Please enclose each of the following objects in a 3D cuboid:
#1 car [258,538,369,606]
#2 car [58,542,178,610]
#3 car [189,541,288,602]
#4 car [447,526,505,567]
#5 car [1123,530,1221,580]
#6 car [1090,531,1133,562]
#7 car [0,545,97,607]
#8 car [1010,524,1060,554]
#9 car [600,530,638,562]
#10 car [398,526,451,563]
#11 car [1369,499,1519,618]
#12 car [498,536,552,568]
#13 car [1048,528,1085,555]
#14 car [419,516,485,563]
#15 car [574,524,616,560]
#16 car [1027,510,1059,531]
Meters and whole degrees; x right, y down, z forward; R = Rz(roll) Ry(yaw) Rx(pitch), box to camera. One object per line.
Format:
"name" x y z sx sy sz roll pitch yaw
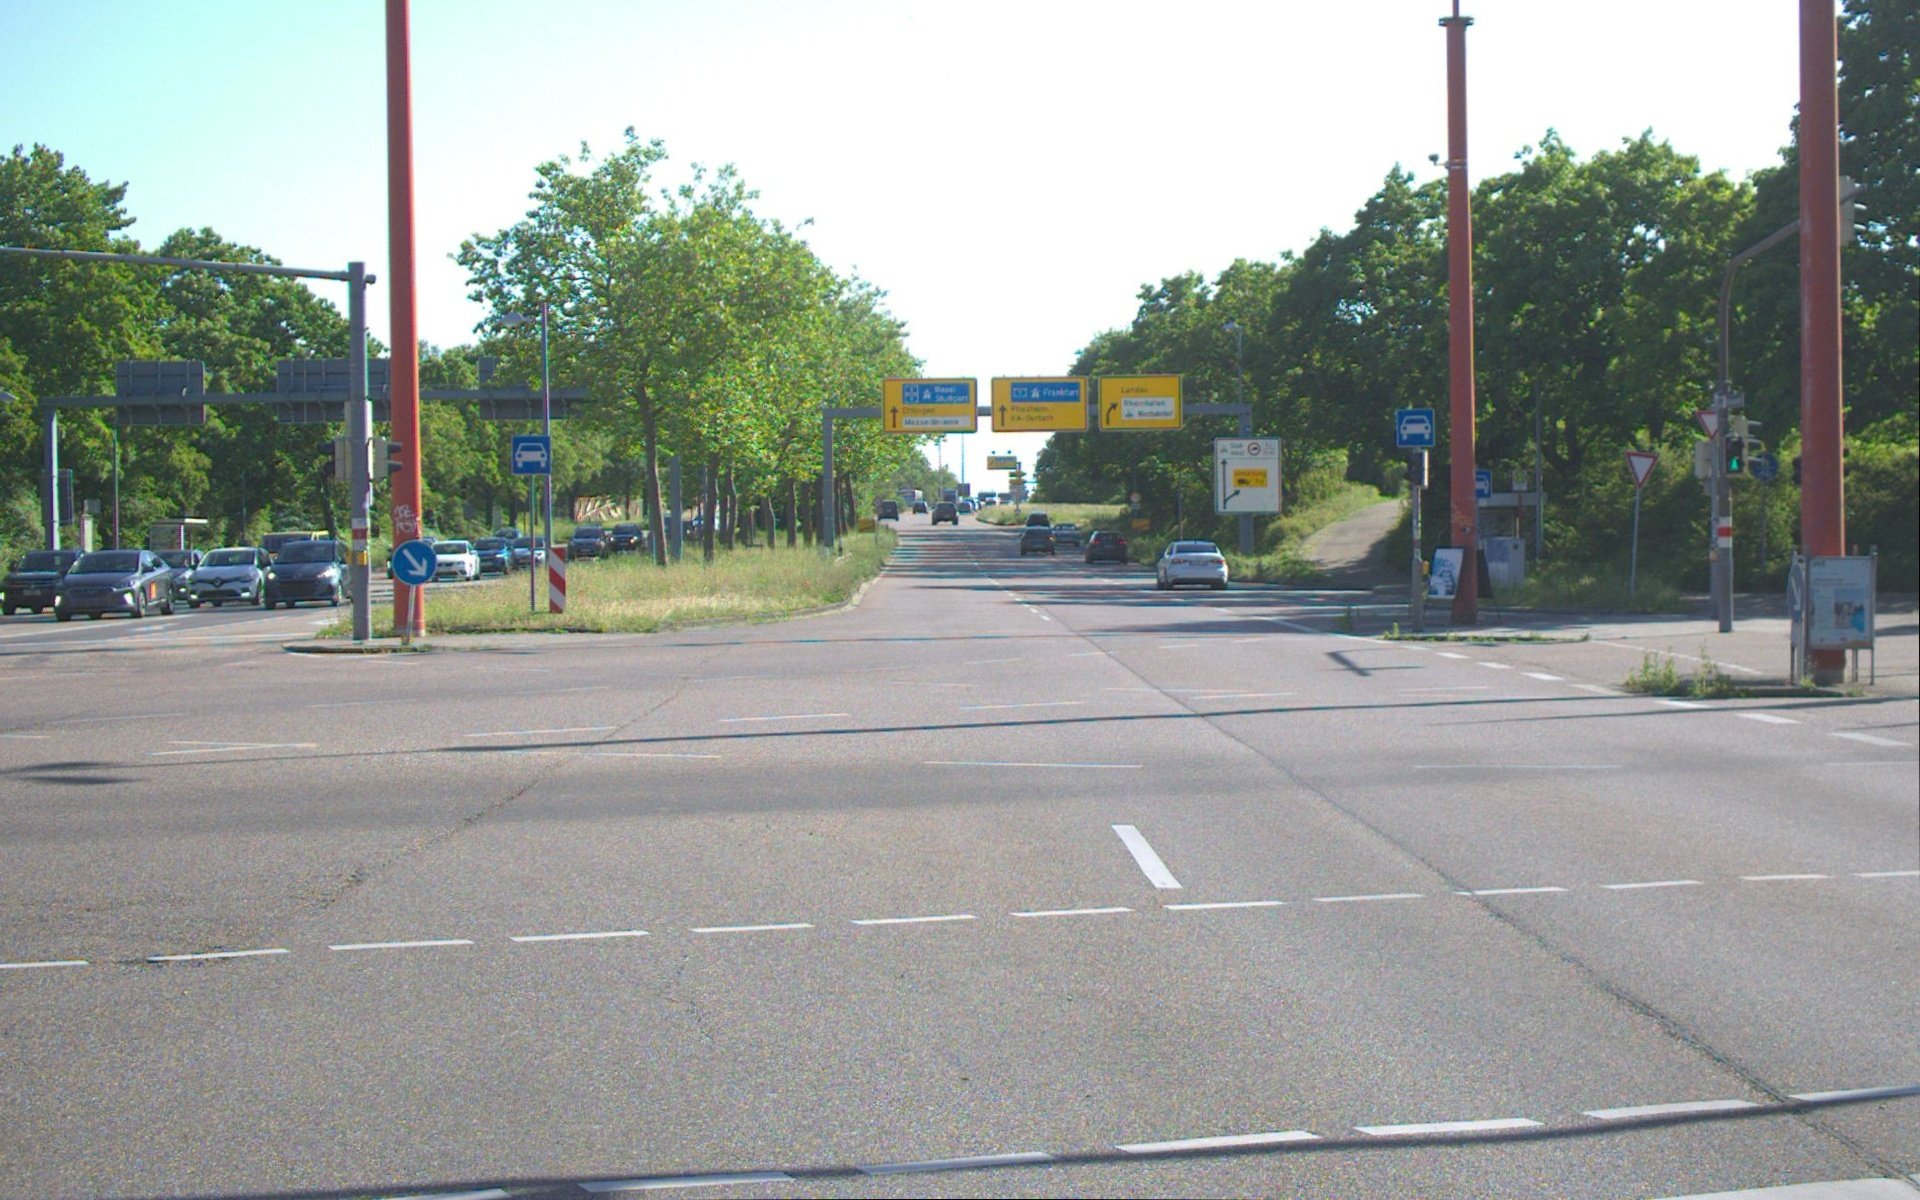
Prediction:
"car" -14.464 -0.625 77.119 1.701 1.416 4.000 3 1 0
"car" -17.764 -0.522 72.699 1.548 1.372 4.263 0 1 -1
"car" -17.782 -0.728 84.843 1.605 1.454 3.950 0 1 0
"car" -18.765 -2.072 133.384 1.704 1.553 3.803 1 1 0
"car" 6.023 -1.298 98.122 2.054 1.366 4.393 -1 1 -7
"car" 6.673 -2.352 151.587 1.738 1.337 3.082 0 1 0
"car" -22.286 -0.587 83.734 1.544 1.428 3.886 -2 1 0
"car" 3.783 -3.094 174.581 1.993 1.491 4.001 -1 1 -6
"car" -18.678 -2.958 188.346 1.657 1.741 4.000 1 1 1
"car" -21.469 -2.205 137.921 1.628 1.445 3.434 1 1 -1
"car" 7.985 -0.699 56.467 1.995 1.881 3.998 0 1 14
"car" -18.365 -2.027 145.208 2.003 1.303 4.001 0 1 -3
"car" 6.146 -3.376 198.329 1.993 1.535 4.000 1 1 0
"car" -17.914 -2.124 121.298 1.704 1.590 4.000 1 1 1
"car" -17.998 -2.875 169.845 1.625 1.733 4.000 0 1 0
"car" 6.018 -5.747 248.734 1.994 1.535 3.999 0 1 6
